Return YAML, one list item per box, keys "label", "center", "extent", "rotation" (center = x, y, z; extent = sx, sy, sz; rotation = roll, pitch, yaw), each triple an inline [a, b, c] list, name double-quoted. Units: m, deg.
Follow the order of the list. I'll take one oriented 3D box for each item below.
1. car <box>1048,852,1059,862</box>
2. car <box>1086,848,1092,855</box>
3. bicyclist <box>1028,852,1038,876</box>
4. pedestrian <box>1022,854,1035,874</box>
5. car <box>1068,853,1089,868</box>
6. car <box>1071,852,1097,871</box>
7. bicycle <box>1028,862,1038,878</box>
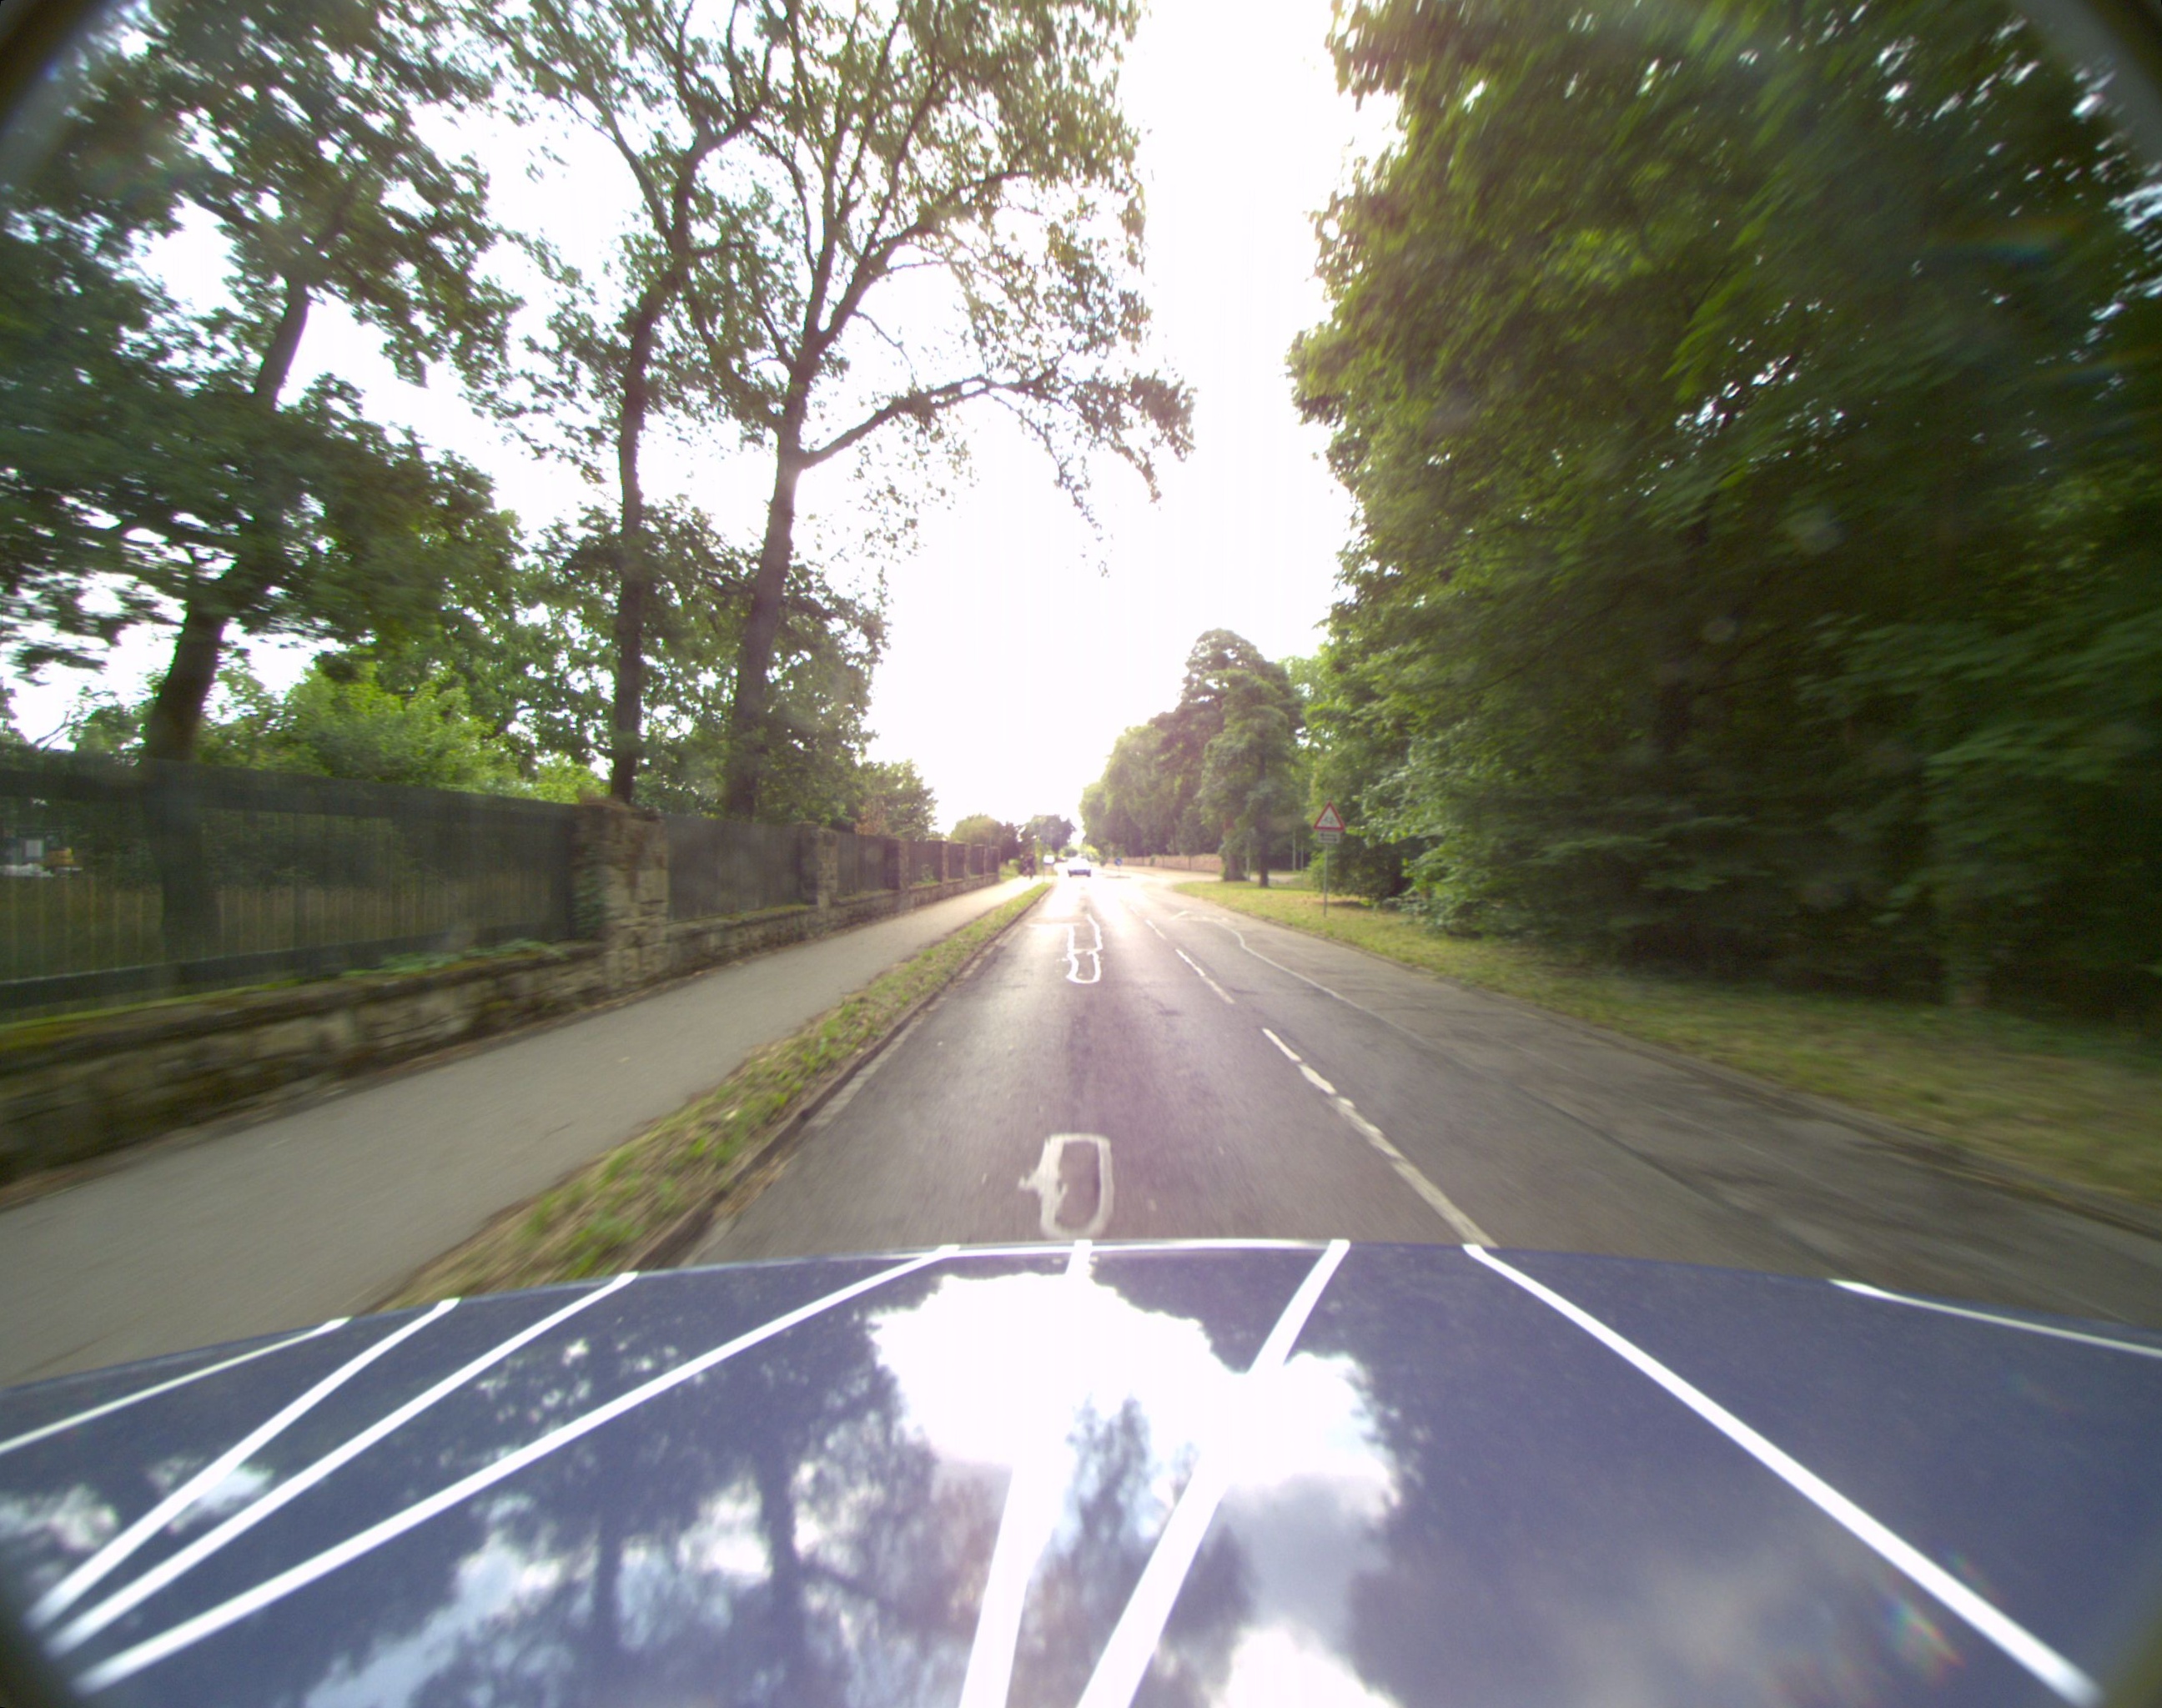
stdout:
- label: "car"
  center: [-4.723, 0.594, 129.903]
  extent: [1.799, 1.652, 4.000]
  rotation: [-1, 0, 0]
- label: "car"
  center: [2.768, -0.890, 254.904]
  extent: [1.999, 2.221, 4.374]
  rotation: [0, 1, -1]
- label: "bicyclist"
  center: [-3.208, 0.667, 51.112]
  extent: [0.571, 1.579, 1.205]
  rotation: [2, 0, 0]
- label: "pedestrian"
  center: [-4.149, 0.798, 60.582]
  extent: [0.831, 1.641, 0.626]
  rotation: [1, 0, 16]
- label: "car"
  center: [-0.280, 0.730, 78.899]
  extent: [1.966, 1.455, 4.529]
  rotation: [1, -1, -2]
- label: "car"
  center: [0.195, 0.645, 62.202]
  extent: [1.966, 1.455, 4.530]
  rotation: [-1, -1, -2]
- label: "bicycle"
  center: [-3.236, 1.061, 51.283]
  extent: [0.559, 1.066, 2.157]
  rotation: [2, 0, 0]
